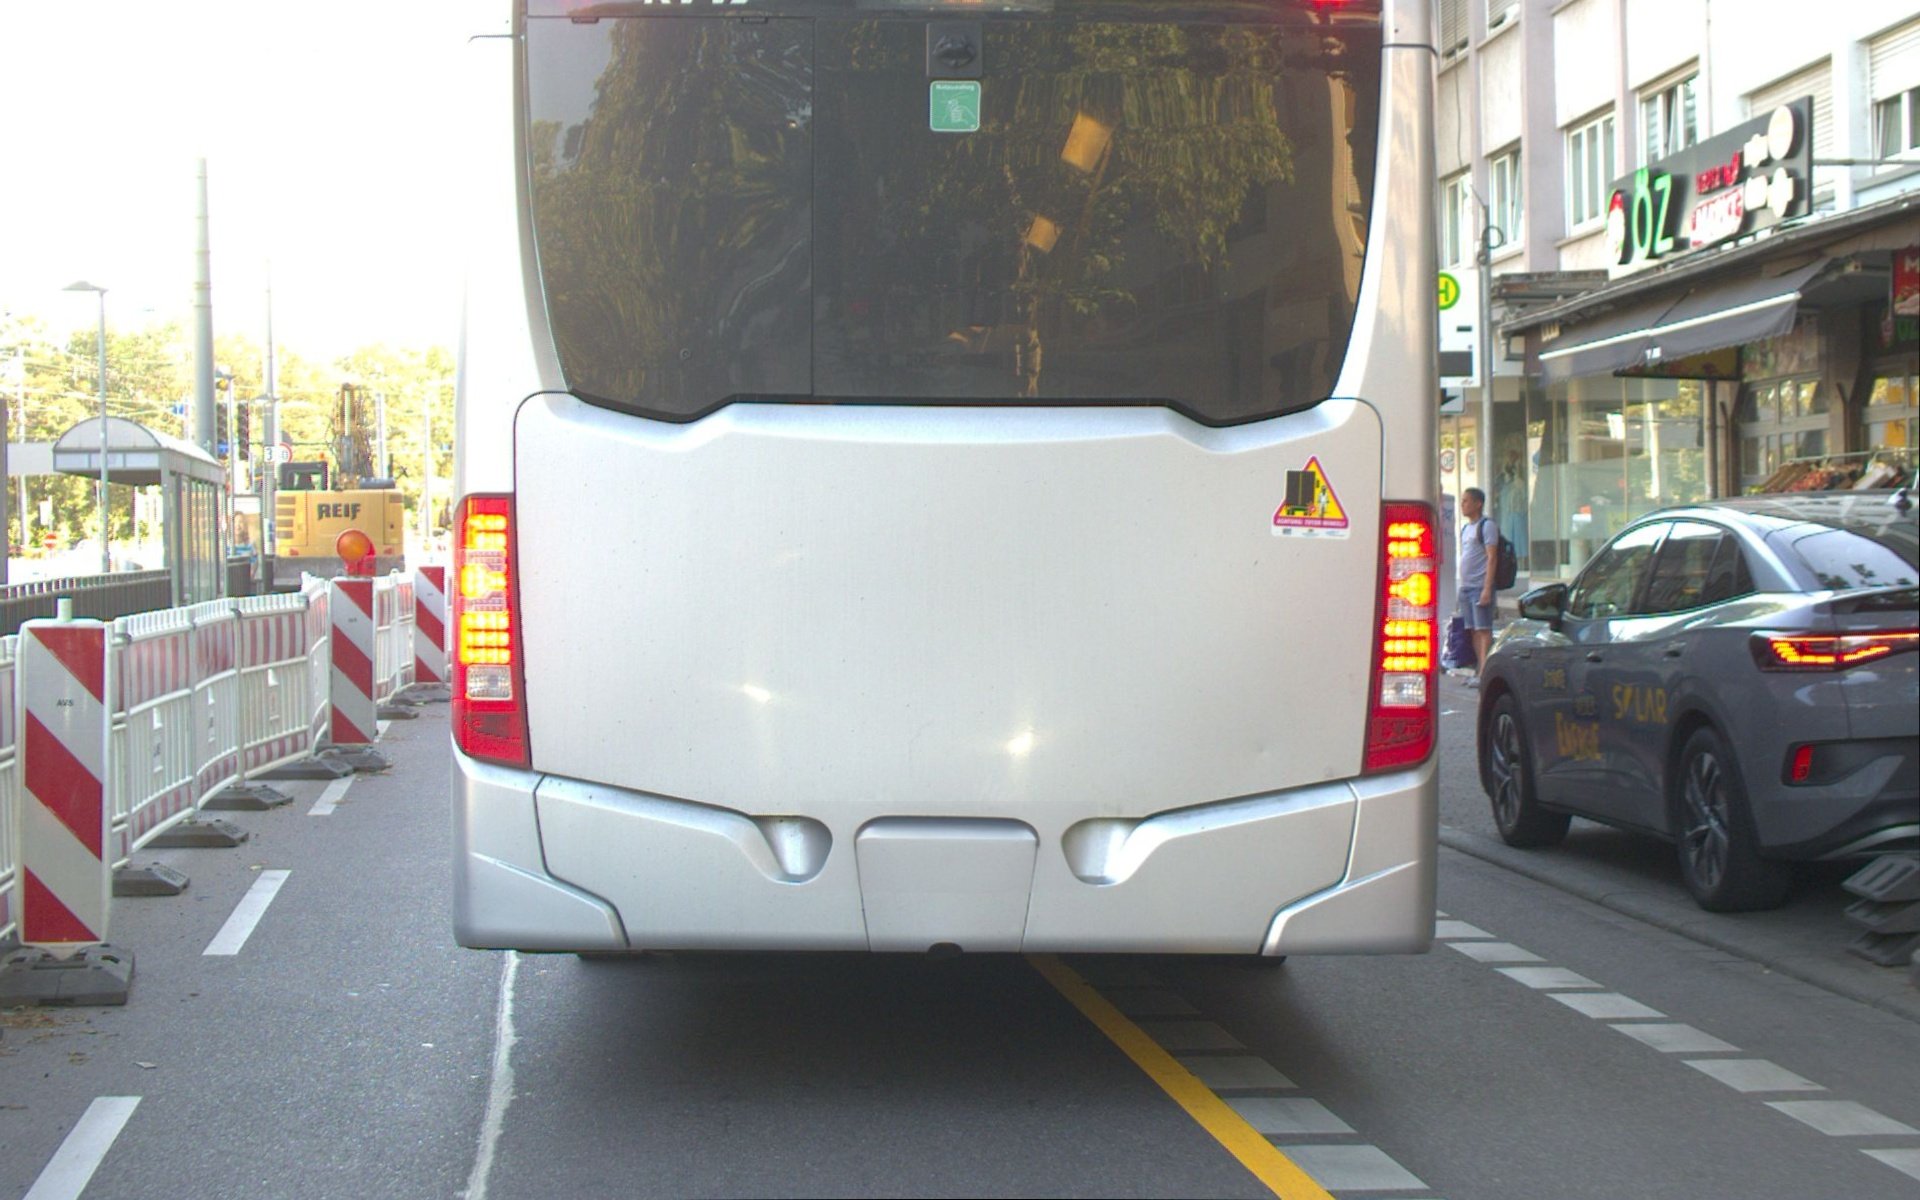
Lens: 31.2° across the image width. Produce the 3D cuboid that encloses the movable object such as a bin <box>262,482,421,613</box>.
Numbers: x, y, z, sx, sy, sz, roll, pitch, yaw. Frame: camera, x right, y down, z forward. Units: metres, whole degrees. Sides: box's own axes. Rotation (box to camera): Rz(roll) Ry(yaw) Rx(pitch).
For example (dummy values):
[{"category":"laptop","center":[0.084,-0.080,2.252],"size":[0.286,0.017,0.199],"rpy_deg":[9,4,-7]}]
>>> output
[{"category":"movable object such as a bin","center":[-12.074,-1.034,67.399],"size":[2.806,2.453,4.001],"rpy_deg":[-1,1,-7]}]

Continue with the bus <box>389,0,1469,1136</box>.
[{"category":"bus","center":[-0.115,-0.365,13.470],"size":[2.608,3.159,10.292],"rpy_deg":[0,1,0]}]

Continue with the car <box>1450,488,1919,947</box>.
[{"category":"car","center":[3.514,0.358,14.498],"size":[1.739,1.592,4.300],"rpy_deg":[-3,1,-7]}]
